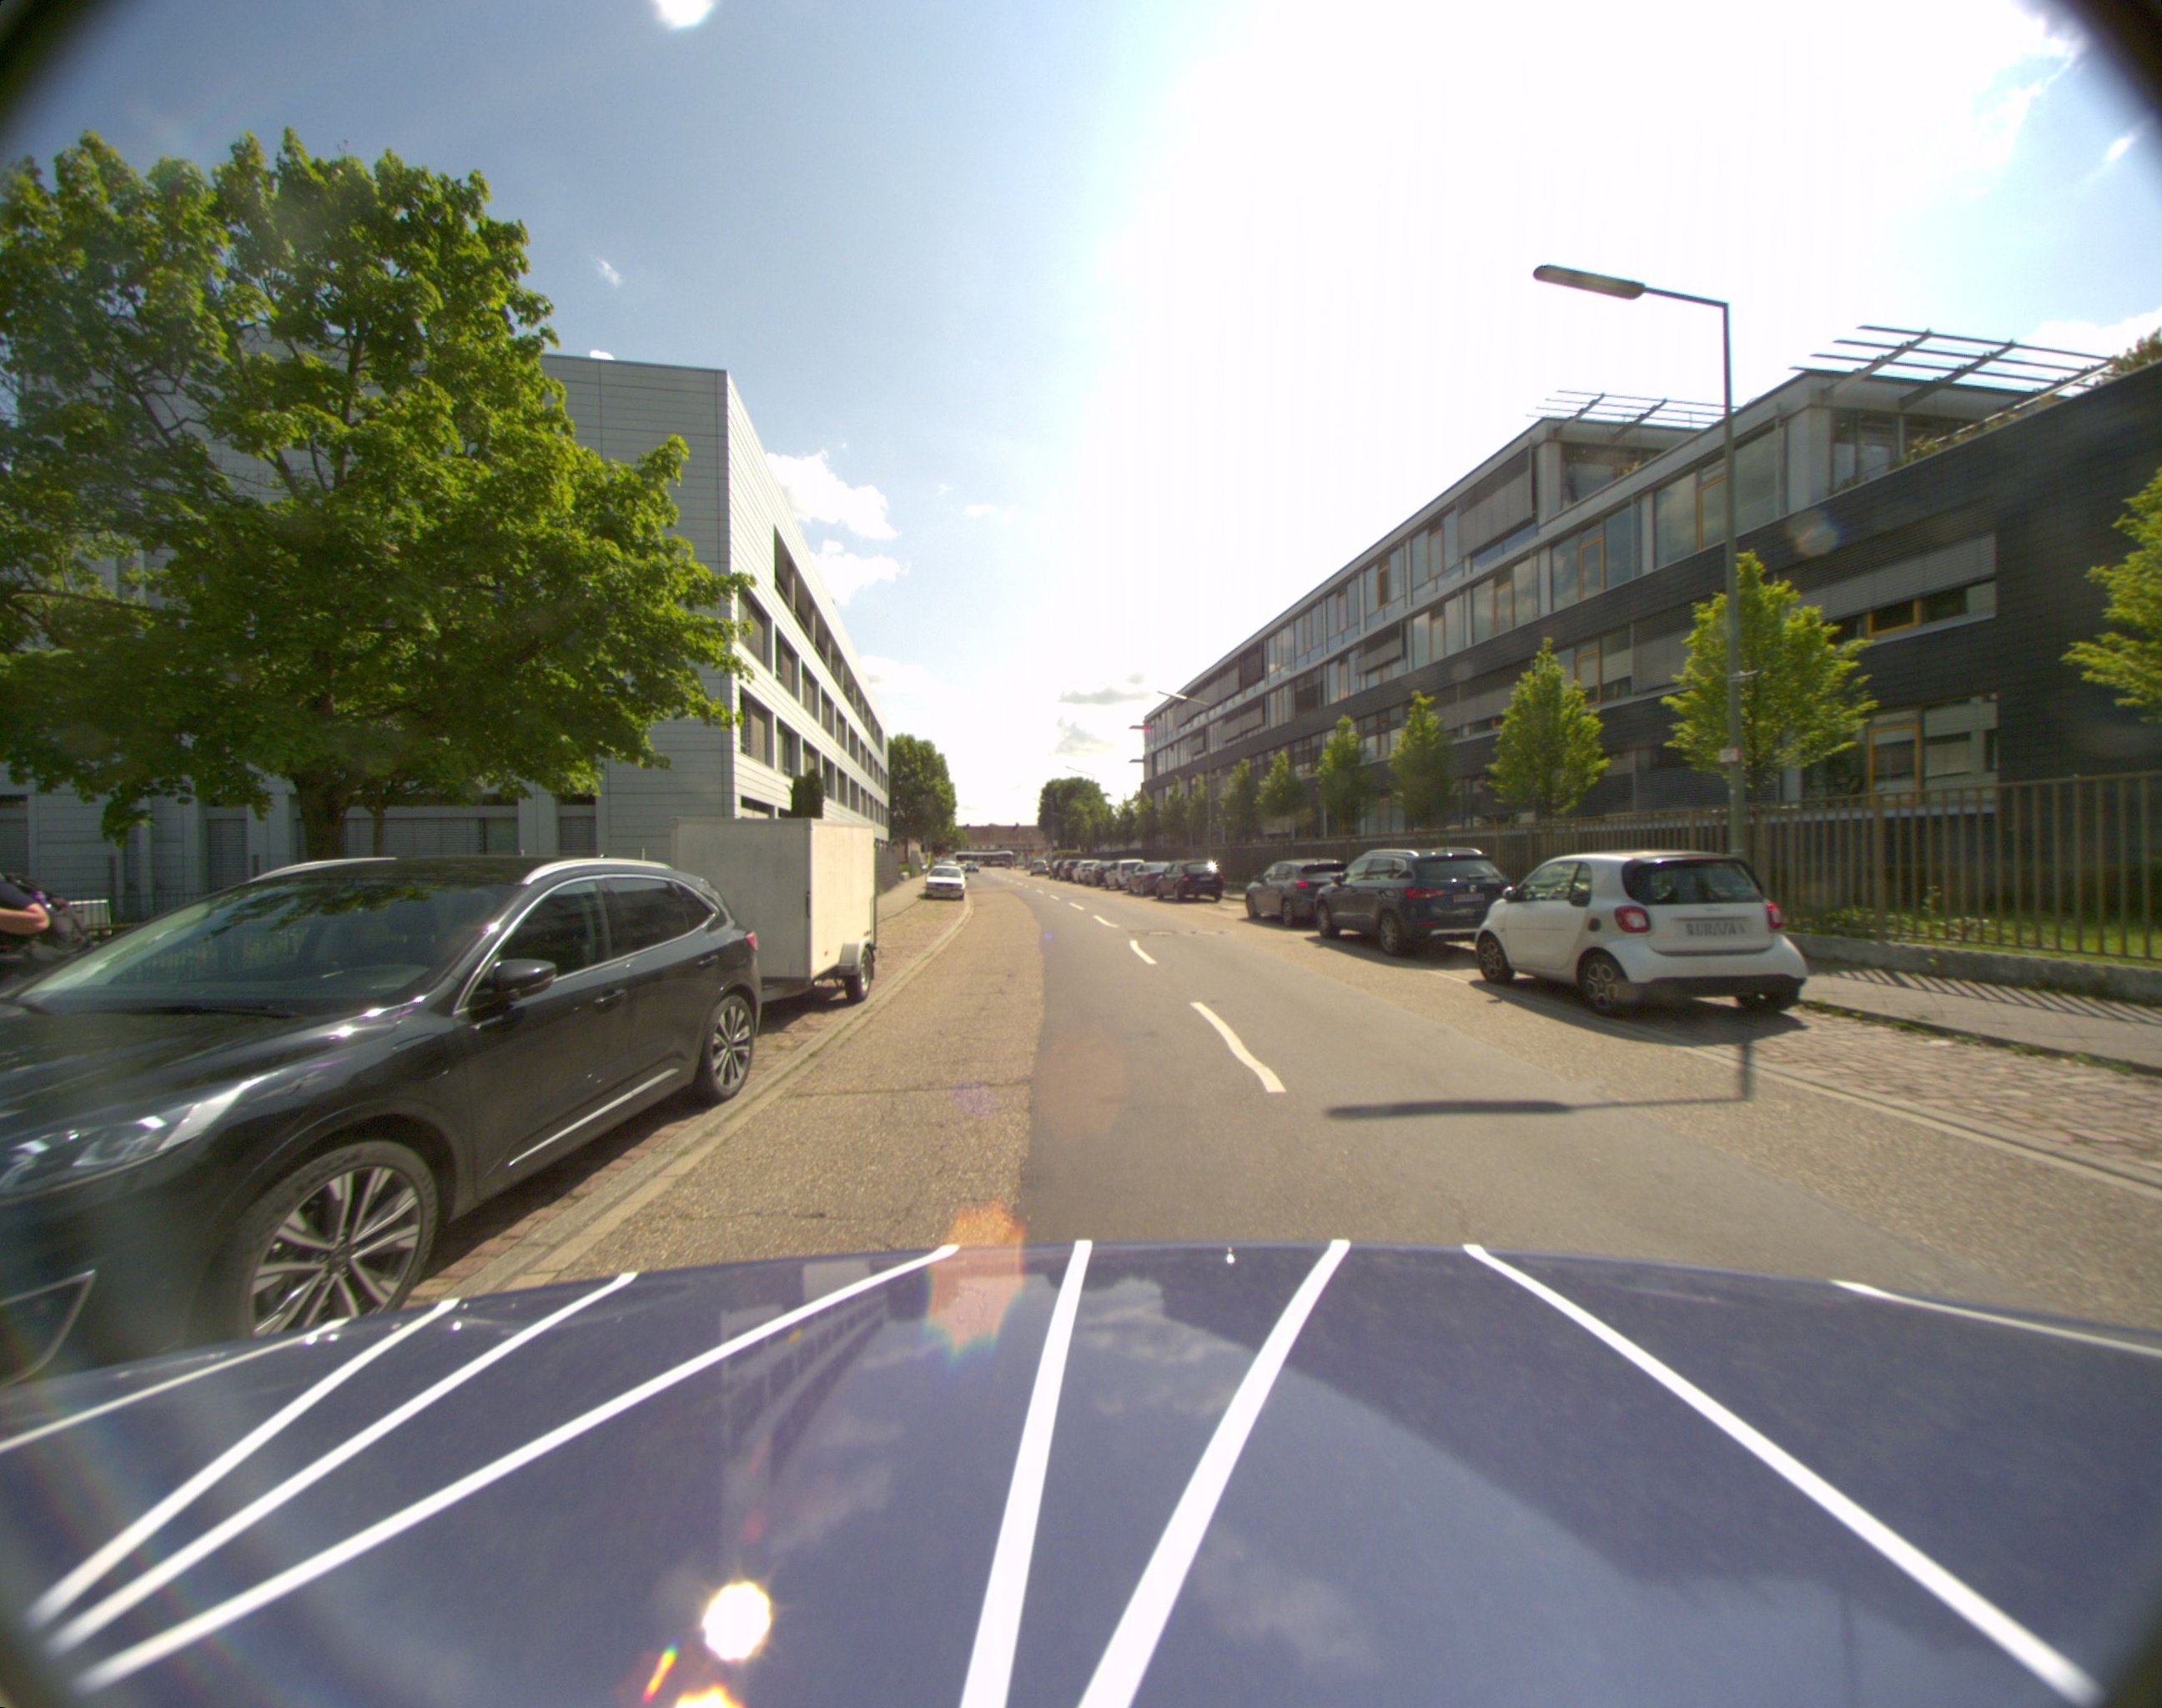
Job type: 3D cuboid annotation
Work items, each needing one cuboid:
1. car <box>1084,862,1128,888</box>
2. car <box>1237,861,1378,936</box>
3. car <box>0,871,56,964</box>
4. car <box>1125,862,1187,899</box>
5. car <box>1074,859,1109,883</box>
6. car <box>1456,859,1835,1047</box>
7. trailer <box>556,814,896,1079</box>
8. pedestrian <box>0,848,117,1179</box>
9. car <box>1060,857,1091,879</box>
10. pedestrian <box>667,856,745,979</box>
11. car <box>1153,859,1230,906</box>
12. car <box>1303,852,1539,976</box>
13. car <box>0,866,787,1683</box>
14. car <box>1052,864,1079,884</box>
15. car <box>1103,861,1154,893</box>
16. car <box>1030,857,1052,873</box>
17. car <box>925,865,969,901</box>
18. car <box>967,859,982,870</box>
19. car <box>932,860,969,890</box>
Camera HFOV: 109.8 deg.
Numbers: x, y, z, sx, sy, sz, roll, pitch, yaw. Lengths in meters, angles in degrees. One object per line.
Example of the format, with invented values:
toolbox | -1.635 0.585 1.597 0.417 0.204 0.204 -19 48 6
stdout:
car | 1.368 1.169 43.814 1.672 1.396 3.996 -2 0 -11
car | 5.120 0.937 17.749 1.739 1.436 3.928 -3 0 -5
car | -19.840 1.163 12.425 1.828 1.638 3.333 -3 0 -10
car | 3.222 1.123 33.305 1.667 1.389 4.102 -3 0 -9
car | 0.612 1.052 48.557 1.568 1.446 3.740 -1 0 -10
car | 5.536 0.844 7.950 1.613 1.514 3.074 -2 0 -1
trailer | -3.272 0.736 7.963 1.750 2.055 3.947 1 0 -1
pedestrian | -5.865 0.810 3.963 0.723 1.683 0.739 1 0 -2
car | -0.414 0.984 54.151 1.568 1.506 3.740 -1 0 -10
pedestrian | -5.230 0.868 10.625 0.729 1.637 0.580 3 -1 -3
car | 3.984 1.009 28.031 1.667 1.521 3.997 -3 0 -9
car | 5.304 0.826 12.577 1.738 1.646 4.309 -2 0 -3
car | -3.258 0.945 3.626 1.865 1.673 4.710 1 0 0
car | -1.248 1.560 59.538 1.568 1.506 4.032 -1 0 -10
car | 2.370 1.134 38.677 1.667 1.473 3.513 -3 0 -12
car | -4.024 1.116 76.000 1.678 1.506 3.741 -1 -2 -10
car | -5.704 1.203 32.696 1.678 1.360 4.156 2 -1 -8
car | -12.970 1.261 92.593 1.661 1.279 3.740 2 -1 -10
car | -7.358 1.148 42.602 1.815 1.495 3.996 3 -1 -13
